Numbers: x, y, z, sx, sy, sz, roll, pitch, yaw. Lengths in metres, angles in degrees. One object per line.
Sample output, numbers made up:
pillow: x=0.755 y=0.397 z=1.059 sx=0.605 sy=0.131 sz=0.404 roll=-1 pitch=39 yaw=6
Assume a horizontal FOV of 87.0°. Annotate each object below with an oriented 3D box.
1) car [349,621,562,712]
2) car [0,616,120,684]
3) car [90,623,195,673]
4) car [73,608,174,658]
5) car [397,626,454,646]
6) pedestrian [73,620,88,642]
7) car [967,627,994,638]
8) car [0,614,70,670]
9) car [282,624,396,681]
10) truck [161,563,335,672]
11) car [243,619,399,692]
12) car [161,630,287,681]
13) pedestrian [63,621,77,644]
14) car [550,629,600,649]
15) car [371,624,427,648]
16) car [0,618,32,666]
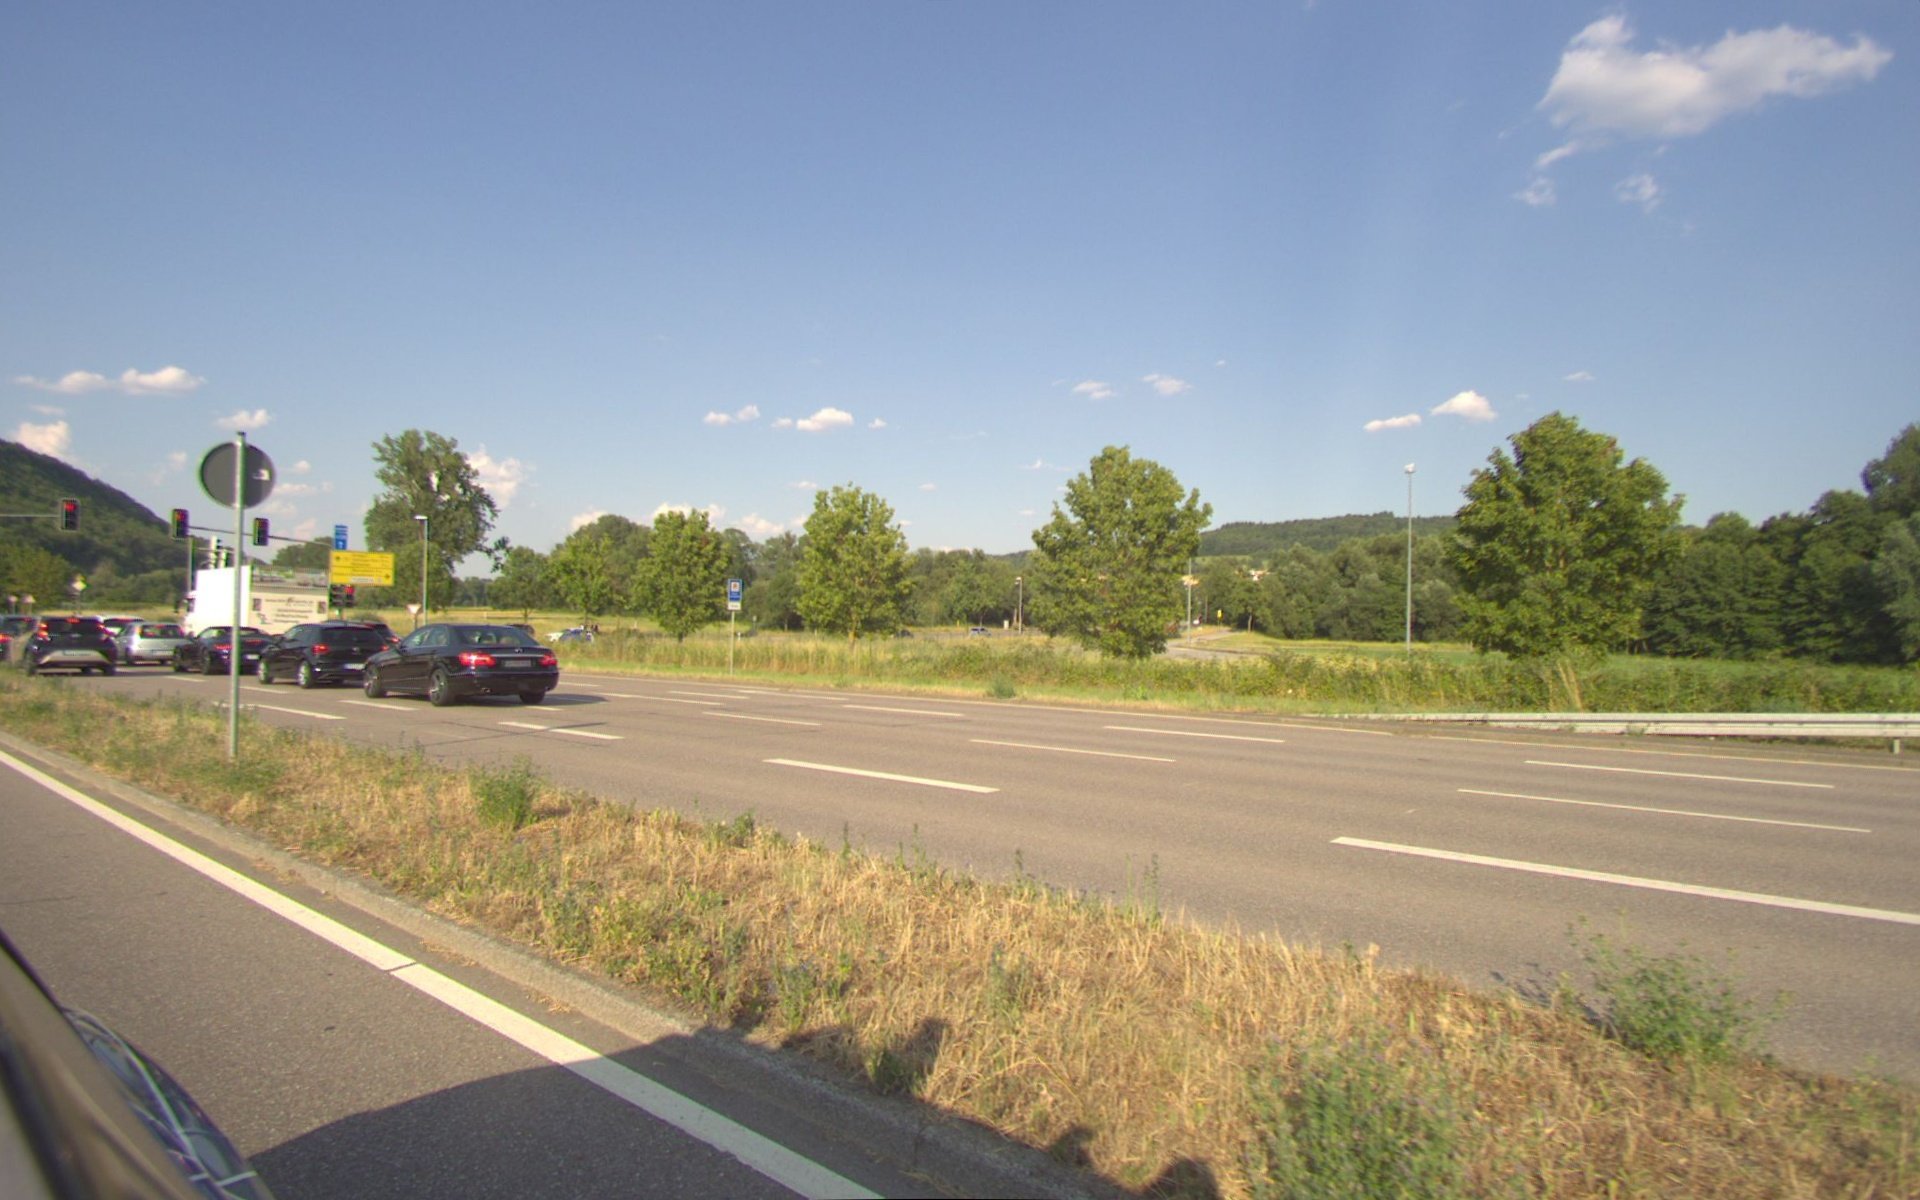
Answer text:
car: x=-9.344 y=1.158 z=18.576 sx=4.722 sy=1.475 sz=1.698 roll=-1 pitch=-4 yaw=40
car: x=-22.893 y=1.215 z=25.640 sx=3.997 sy=1.531 sz=1.762 roll=0 pitch=-2 yaw=40
car: x=-26.924 y=1.532 z=33.272 sx=5.077 sy=1.416 sz=1.685 roll=0 pitch=-2 yaw=40
car: x=-31.326 y=1.213 z=37.849 sx=4.802 sy=1.691 sz=1.974 roll=0 pitch=-2 yaw=39
car: x=-43.369 y=2.906 z=82.241 sx=1.758 sy=1.431 sz=3.846 roll=0 pitch=1 yaw=26
pedestrian: x=-64.951 y=2.295 z=74.701 sx=0.646 sy=1.618 sz=0.892 roll=0 pitch=1 yaw=-29
car: x=2.745 y=4.337 z=133.965 sx=1.764 sy=1.378 sz=3.704 roll=0 pitch=-1 yaw=35
car: x=-28.009 y=1.267 z=29.988 sx=4.567 sy=1.550 sz=1.762 roll=-2 pitch=-4 yaw=40
car: x=-19.045 y=1.577 z=30.965 sx=3.997 sy=1.541 sz=1.744 roll=0 pitch=-2 yaw=40
truck: x=-27.703 y=0.636 z=39.103 sx=10.494 sy=3.718 sz=2.902 roll=0 pitch=-3 yaw=41
car: x=-14.587 y=1.219 z=23.019 sx=4.240 sy=1.485 sz=1.685 roll=0 pitch=-3 yaw=39
car: x=-20.690 y=1.518 z=28.379 sx=4.814 sy=1.293 sz=1.685 roll=-1 pitch=-3 yaw=39
pedestrian: x=-65.955 y=2.410 z=75.002 sx=0.646 sy=1.618 sz=0.839 roll=0 pitch=1 yaw=-29
car: x=-35.369 y=3.574 z=93.041 sx=1.589 sy=1.630 sz=4.208 roll=0 pitch=1 yaw=36
car: x=-42.210 y=2.680 z=76.163 sx=3.636 sy=1.630 sz=1.597 roll=-1 pitch=1 yaw=-29
car: x=-32.606 y=1.363 z=33.671 sx=4.923 sy=1.477 sz=1.773 roll=0 pitch=-1 yaw=39
